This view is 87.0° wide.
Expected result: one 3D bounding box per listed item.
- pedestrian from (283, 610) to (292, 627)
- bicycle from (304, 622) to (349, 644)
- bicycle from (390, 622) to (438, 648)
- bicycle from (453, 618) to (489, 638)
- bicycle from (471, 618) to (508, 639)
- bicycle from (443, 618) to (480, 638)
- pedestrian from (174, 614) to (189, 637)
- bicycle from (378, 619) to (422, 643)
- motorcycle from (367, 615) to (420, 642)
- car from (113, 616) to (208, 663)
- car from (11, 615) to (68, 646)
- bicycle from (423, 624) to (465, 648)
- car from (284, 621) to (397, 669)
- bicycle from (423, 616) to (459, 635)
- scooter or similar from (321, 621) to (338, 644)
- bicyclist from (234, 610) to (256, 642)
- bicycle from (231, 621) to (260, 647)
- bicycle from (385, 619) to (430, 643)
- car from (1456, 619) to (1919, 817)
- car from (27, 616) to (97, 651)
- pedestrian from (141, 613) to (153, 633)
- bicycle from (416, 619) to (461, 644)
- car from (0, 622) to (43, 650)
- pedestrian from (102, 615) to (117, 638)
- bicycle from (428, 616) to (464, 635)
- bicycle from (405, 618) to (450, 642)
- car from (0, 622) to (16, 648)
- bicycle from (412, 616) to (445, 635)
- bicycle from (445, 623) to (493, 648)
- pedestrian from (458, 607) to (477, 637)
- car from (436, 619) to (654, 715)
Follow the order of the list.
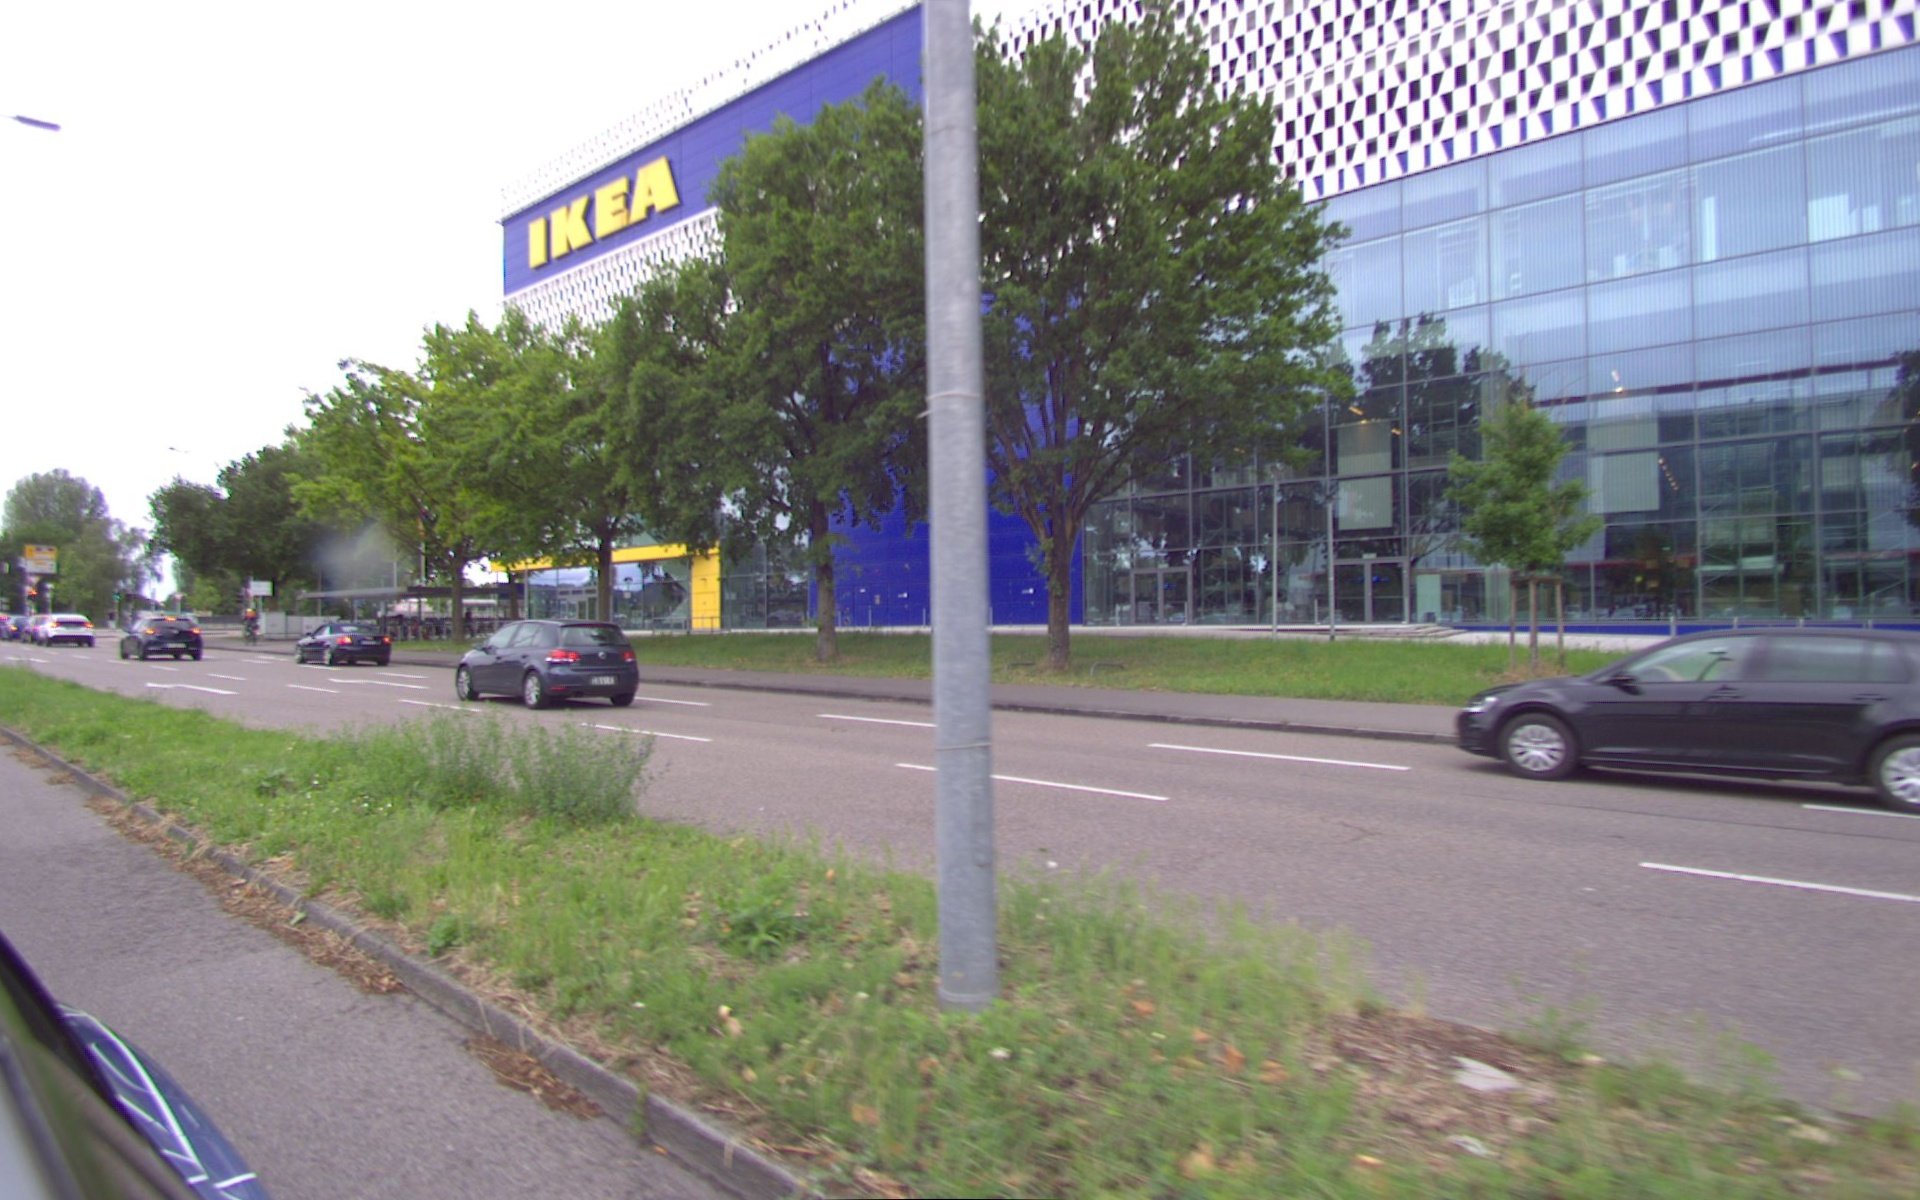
[{"bbox_3d":[-70.003,1.889,105.322,0.788,1.755,0.578,-4,-3,42],"label":"pedestrian"},{"bbox_3d":[-34.776,1.790,55.570,0.593,1.165,1.995,-1,-1,40],"label":"bicycle"},{"bbox_3d":[-26.790,1.721,49.684,1.989,1.165,0.595,-2,1,-35],"label":"bicycle"},{"bbox_3d":[-30.181,1.703,62.497,0.591,1.165,2.004,-1,0,27],"label":"bicycle"},{"bbox_3d":[-28.439,1.714,61.183,0.592,1.165,1.999,-1,0,34],"label":"bicycle"},{"bbox_3d":[-31.282,1.743,63.510,0.593,1.165,1.996,-1,0,38],"label":"bicycle"},{"bbox_3d":[-57.537,1.879,74.787,0.808,1.655,0.627,2,0,38],"label":"pedestrian"},{"bbox_3d":[-30.269,1.658,54.753,0.593,1.165,1.995,-1,1,40],"label":"bicycle"},{"bbox_3d":[-31.148,1.581,55.684,0.796,1.365,2.477,-1,1,28],"label":"motorcycle"},{"bbox_3d":[-27.397,1.326,34.658,3.996,1.464,1.740,0,-1,40],"label":"car"},{"bbox_3d":[-47.752,1.591,52.496,4.034,1.509,1.586,0,-3,40],"label":"car"},{"bbox_3d":[-25.996,1.802,51.010,0.593,1.090,1.791,-1,1,40],"label":"bicycle"},{"bbox_3d":[-20.268,1.438,33.050,4.400,1.463,1.754,-1,-3,39],"label":"car"},{"bbox_3d":[-33.805,1.648,65.887,0.593,1.165,1.996,-1,0,38],"label":"bicycle"},{"bbox_3d":[-34.270,1.741,55.034,0.353,1.193,1.296,-1,0,-12],"label":"scooter or similar"},{"bbox_3d":[-35.610,1.286,50.382,0.999,1.589,0.634,-2,0,40],"label":"bicyclist"},{"bbox_3d":[-35.601,1.697,50.407,2.054,1.260,0.636,-1,0,40],"label":"bicycle"},{"bbox_3d":[-29.037,1.622,53.217,0.593,1.165,1.995,-1,1,40],"label":"bicycle"},{"bbox_3d":[6.919,0.940,8.975,4.181,1.467,1.910,-1,-4,42],"label":"car"},{"bbox_3d":[-42.800,1.558,48.224,4.179,1.530,1.911,1,0,40],"label":"car"},{"bbox_3d":[-68.823,1.950,85.691,0.766,1.725,0.666,-1,-1,44],"label":"pedestrian"},{"bbox_3d":[-26.836,1.620,52.101,0.593,1.165,1.995,-1,1,40],"label":"bicycle"},{"bbox_3d":[-52.637,1.992,56.485,4.140,1.455,1.586,0,-3,40],"label":"car"},{"bbox_3d":[-68.066,2.107,80.966,0.686,1.778,0.656,3,-2,37],"label":"pedestrian"},{"bbox_3d":[-33.018,1.629,65.072,0.593,1.165,1.996,-1,0,38],"label":"bicycle"},{"bbox_3d":[-27.837,1.575,52.932,0.593,1.165,1.995,-1,1,40],"label":"bicycle"},{"bbox_3d":[-57.800,2.081,60.336,4.061,1.514,1.645,-1,-3,40],"label":"car"},{"bbox_3d":[-34.986,1.645,66.645,0.590,1.165,2.006,-1,0,24],"label":"bicycle"},{"bbox_3d":[-24.157,1.724,49.806,0.593,1.131,1.994,-1,1,42],"label":"bicycle"},{"bbox_3d":[-28.526,1.272,58.624,0.807,1.759,0.670,-2,-1,40],"label":"pedestrian"},{"bbox_3d":[-7.228,1.085,17.464,4.180,1.467,1.761,-1,-3,41],"label":"car"}]
